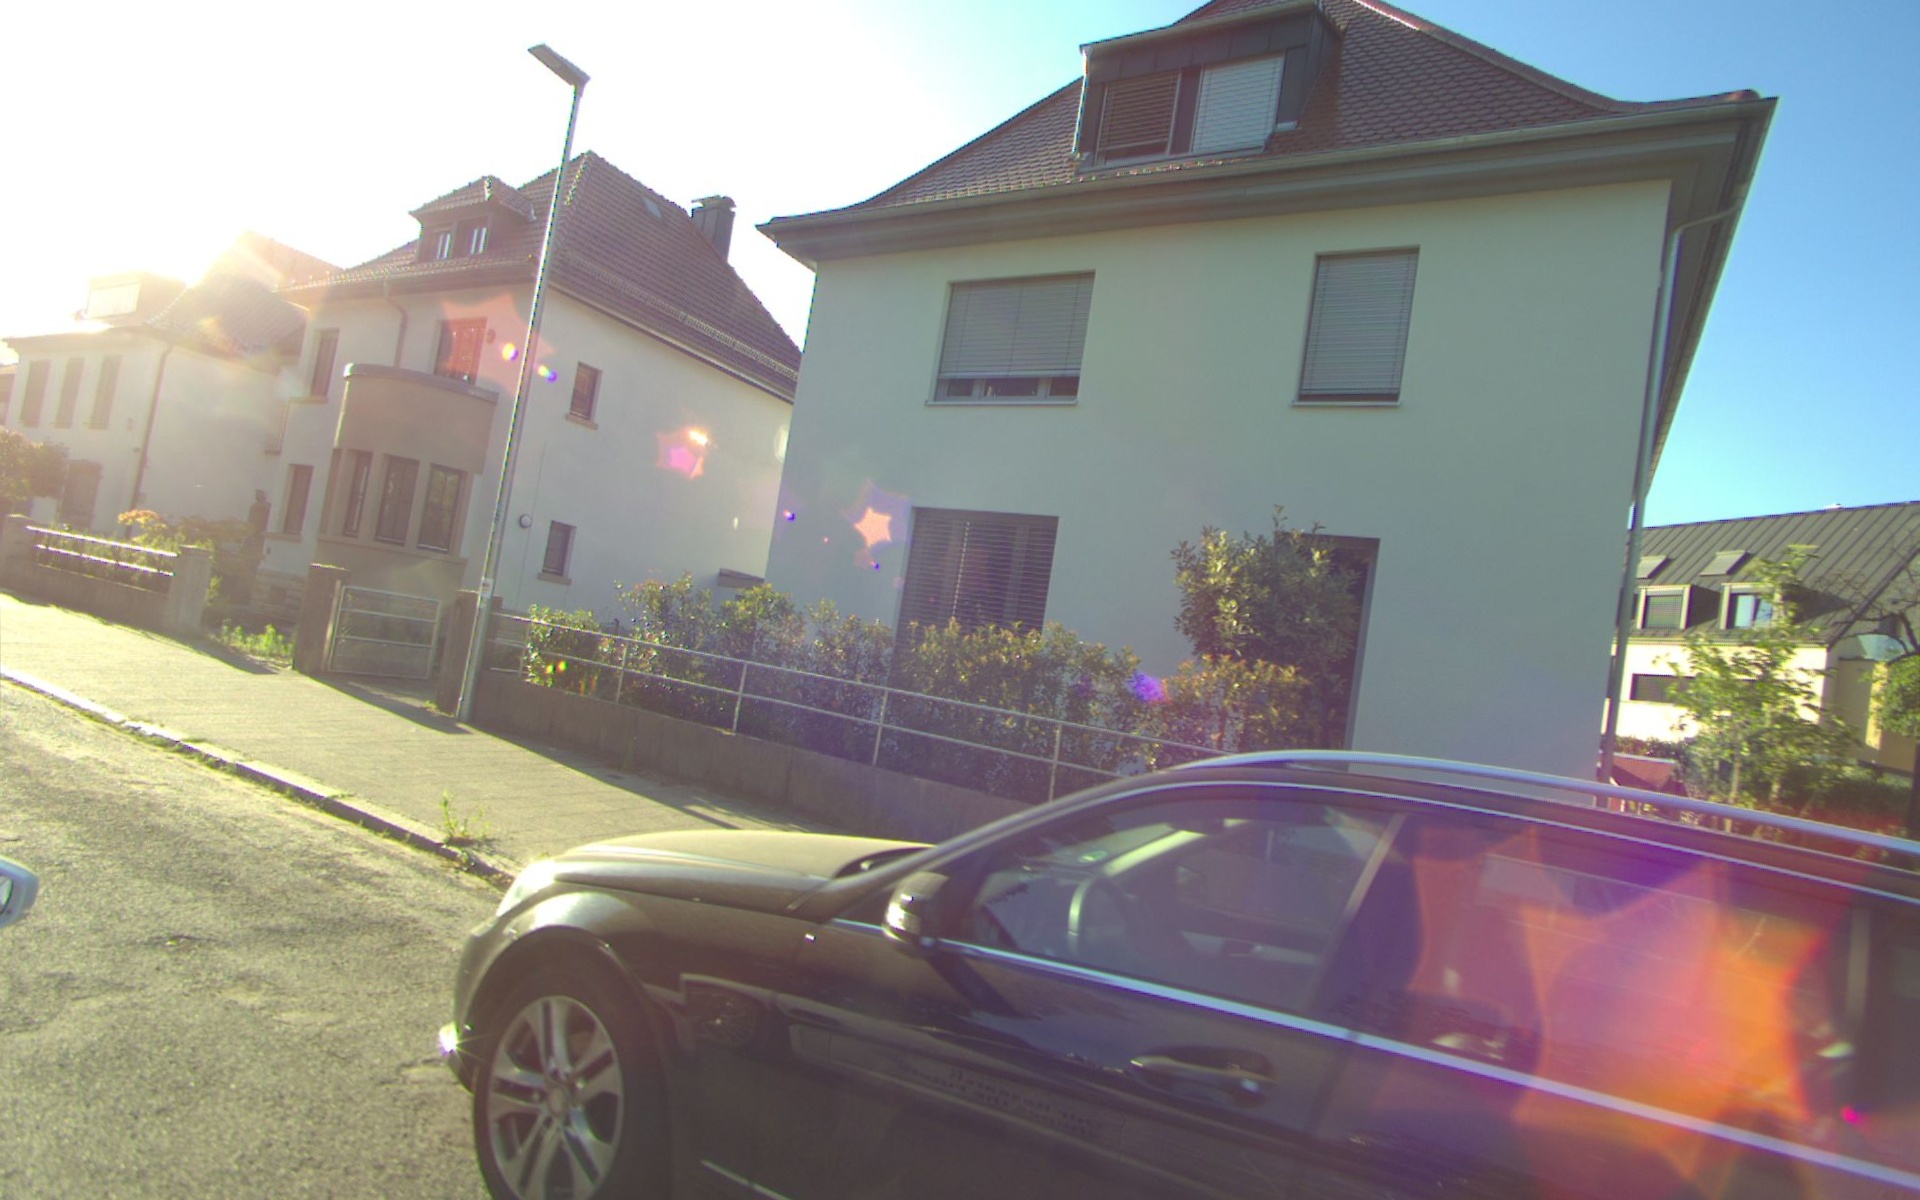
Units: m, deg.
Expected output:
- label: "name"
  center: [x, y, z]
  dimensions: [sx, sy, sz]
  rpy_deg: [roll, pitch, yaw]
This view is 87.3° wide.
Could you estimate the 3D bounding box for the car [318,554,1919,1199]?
- label: "car"
  center: [0.665, 1.014, 2.465]
  dimensions: [4.323, 1.513, 1.788]
  rpy_deg: [7, -7, 30]
